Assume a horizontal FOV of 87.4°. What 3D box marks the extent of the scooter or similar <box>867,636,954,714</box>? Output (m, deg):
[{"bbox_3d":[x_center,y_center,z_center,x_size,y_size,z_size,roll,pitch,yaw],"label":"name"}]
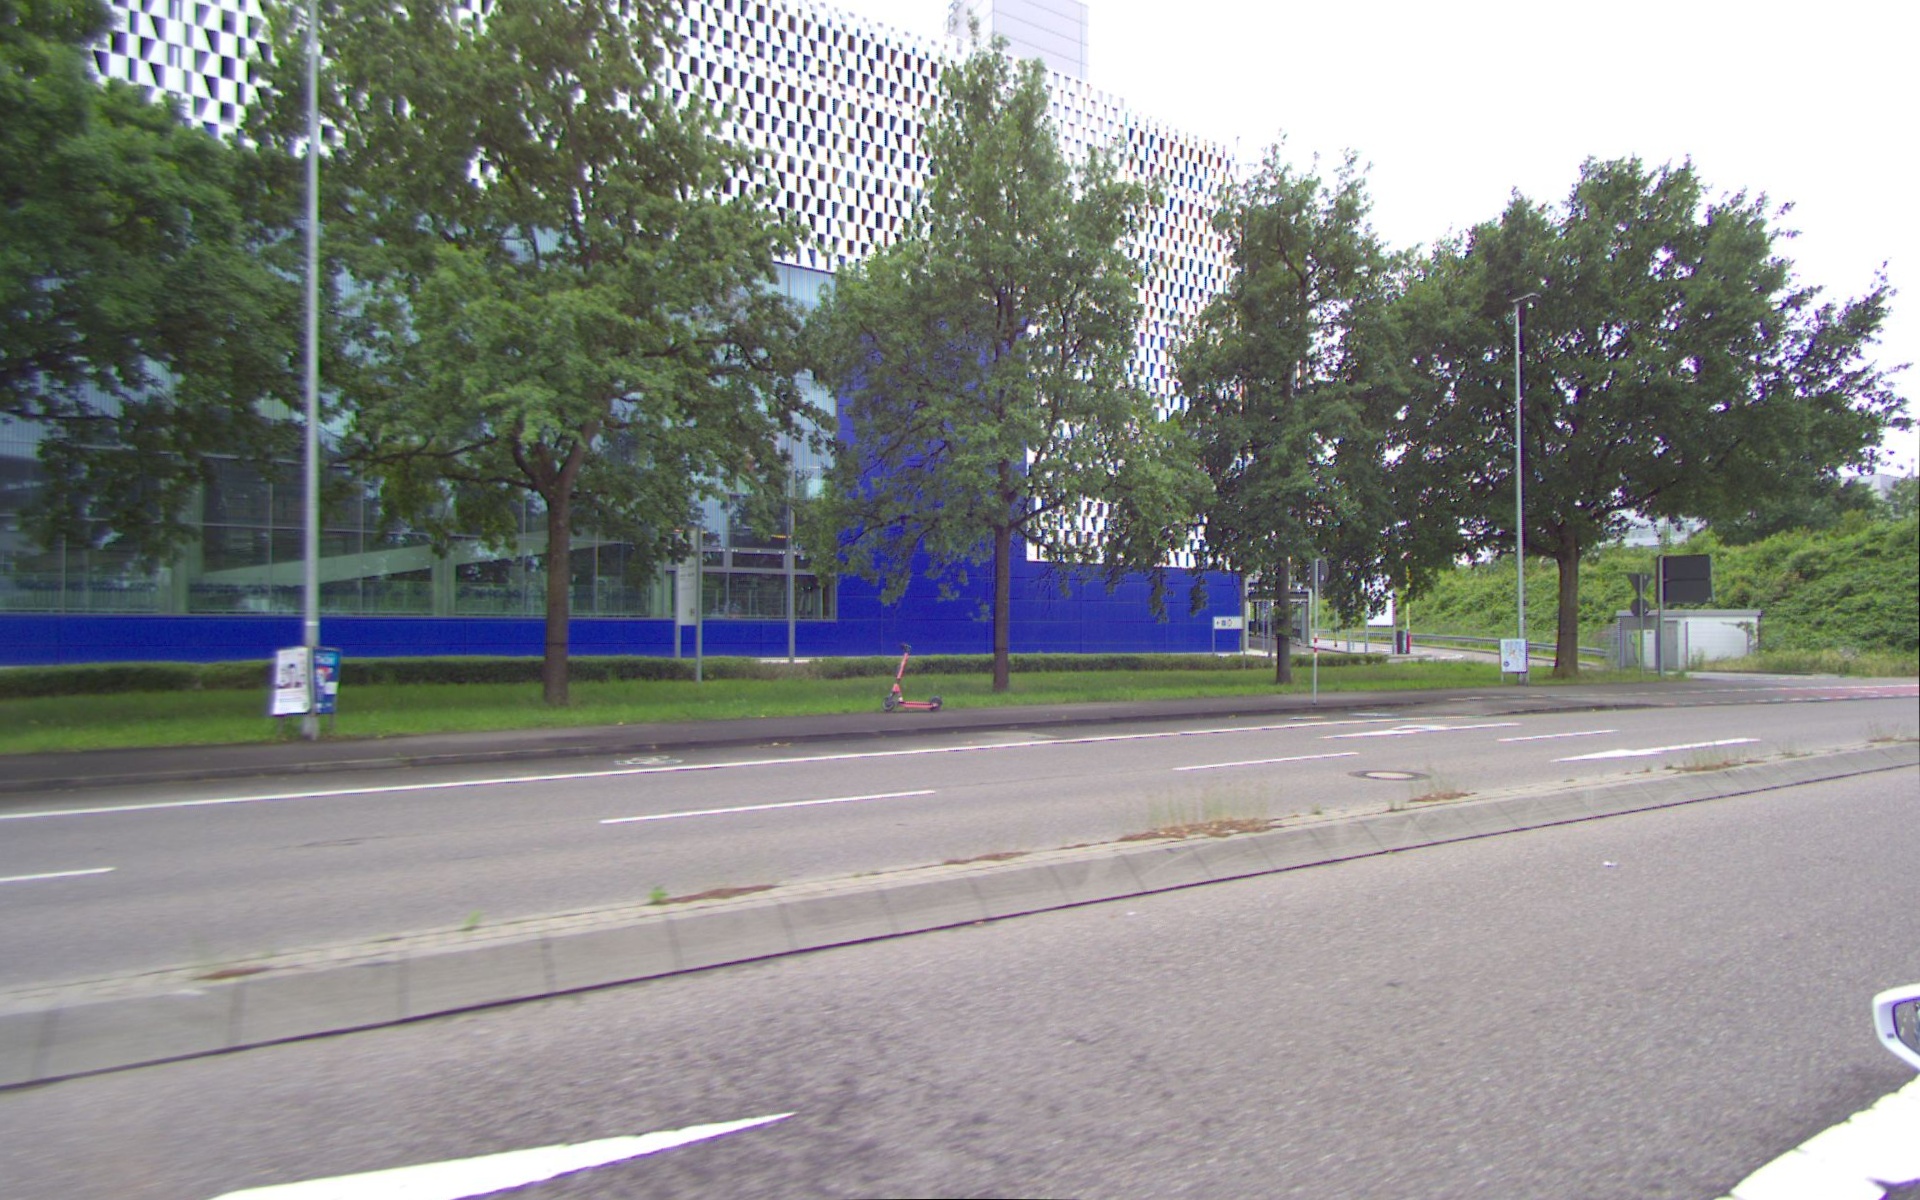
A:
[{"bbox_3d":[-0.883,1.315,17.868,1.482,1.339,0.446,1,-1,-20],"label":"scooter or similar"}]
